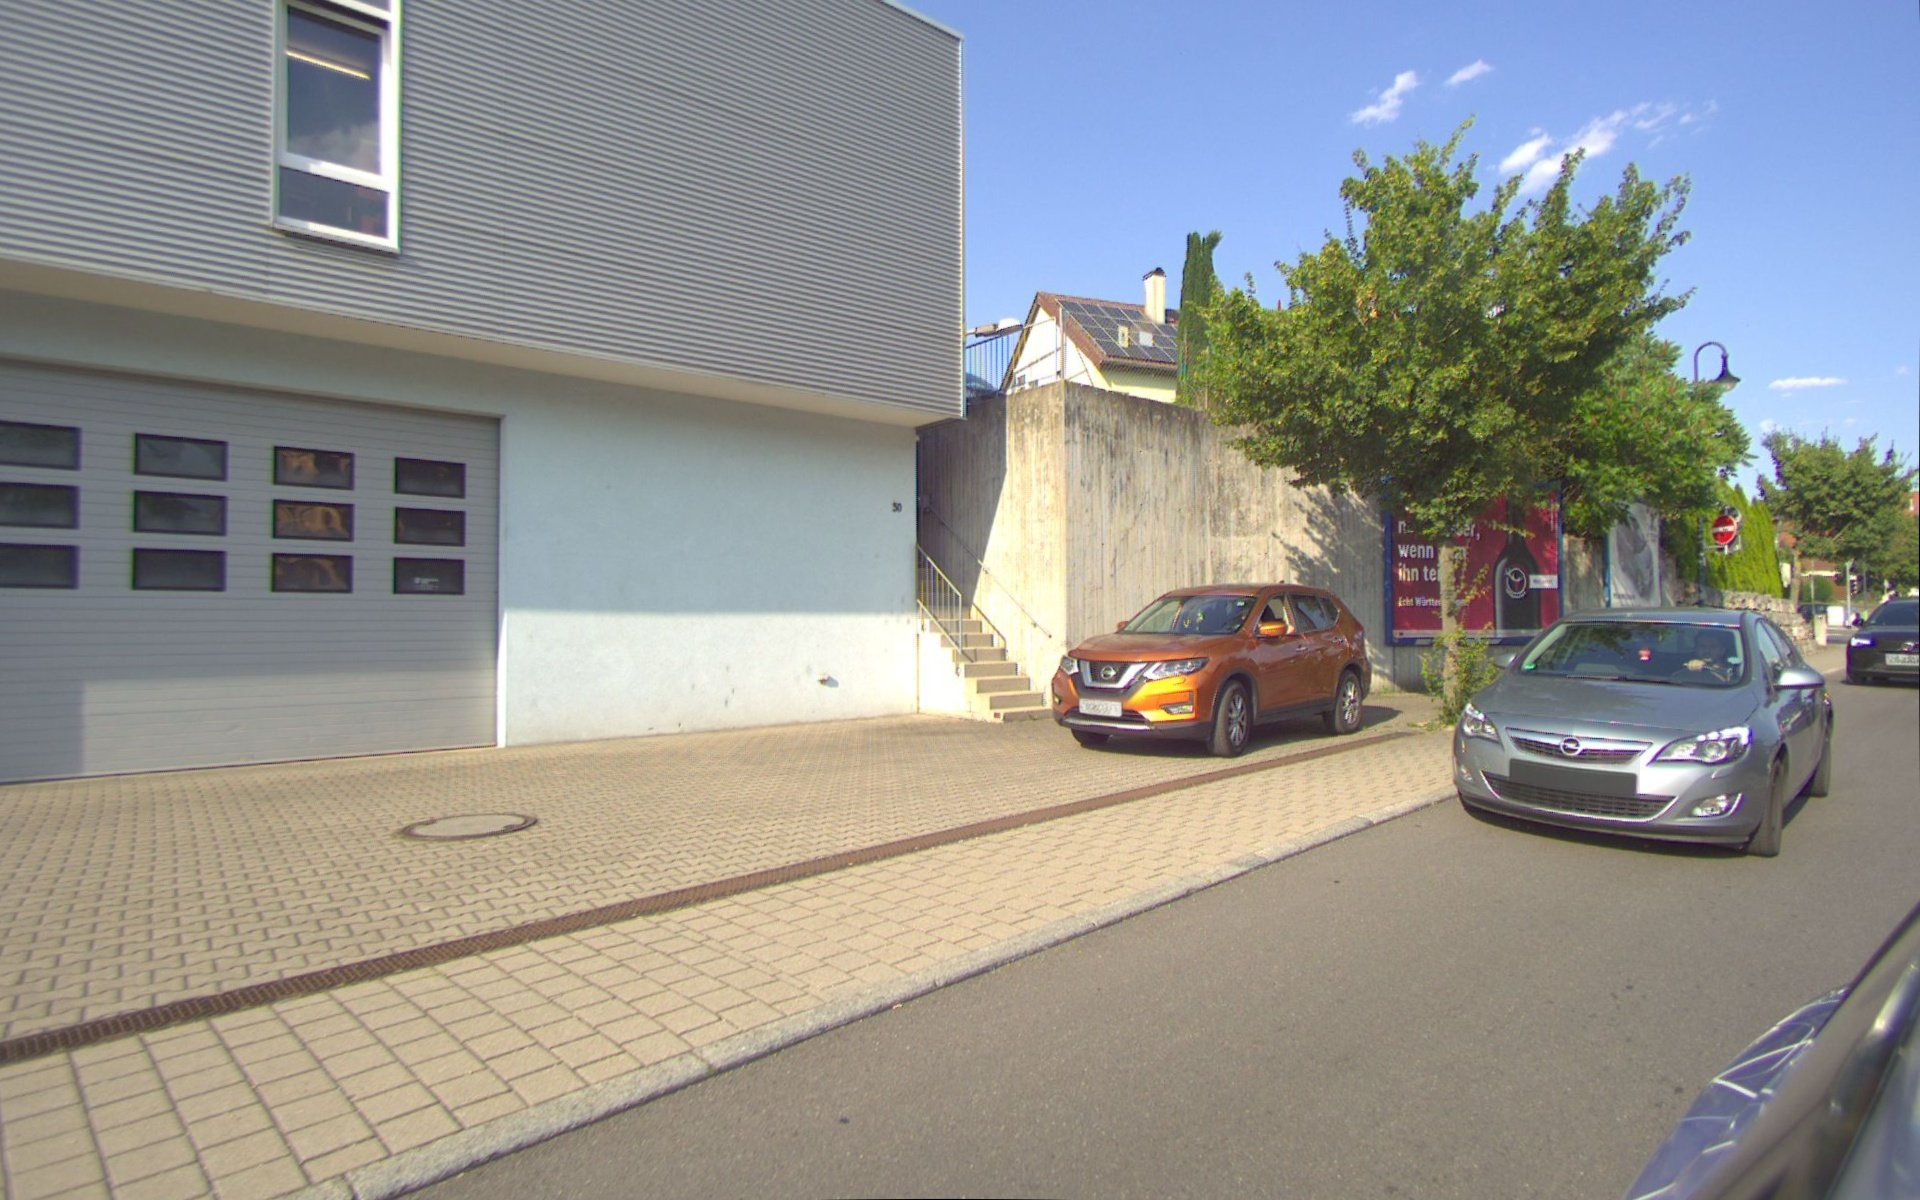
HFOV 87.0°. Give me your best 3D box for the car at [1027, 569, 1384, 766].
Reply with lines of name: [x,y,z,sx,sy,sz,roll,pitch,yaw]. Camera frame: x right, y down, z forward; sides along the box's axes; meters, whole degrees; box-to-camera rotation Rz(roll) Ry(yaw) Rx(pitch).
car: [2.812,0.582,10.863,1.833,1.670,4.469,-1,-1,42]

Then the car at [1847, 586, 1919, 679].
car: [18.359,0.598,19.027,3.981,1.626,1.792,1,-1,-38]

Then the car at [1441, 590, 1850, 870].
car: [5.128,0.698,7.326,4.075,1.440,1.649,1,0,-44]

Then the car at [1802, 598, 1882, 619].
car: [63.965,0.591,73.456,1.644,1.475,4.086,1,-1,-25]
